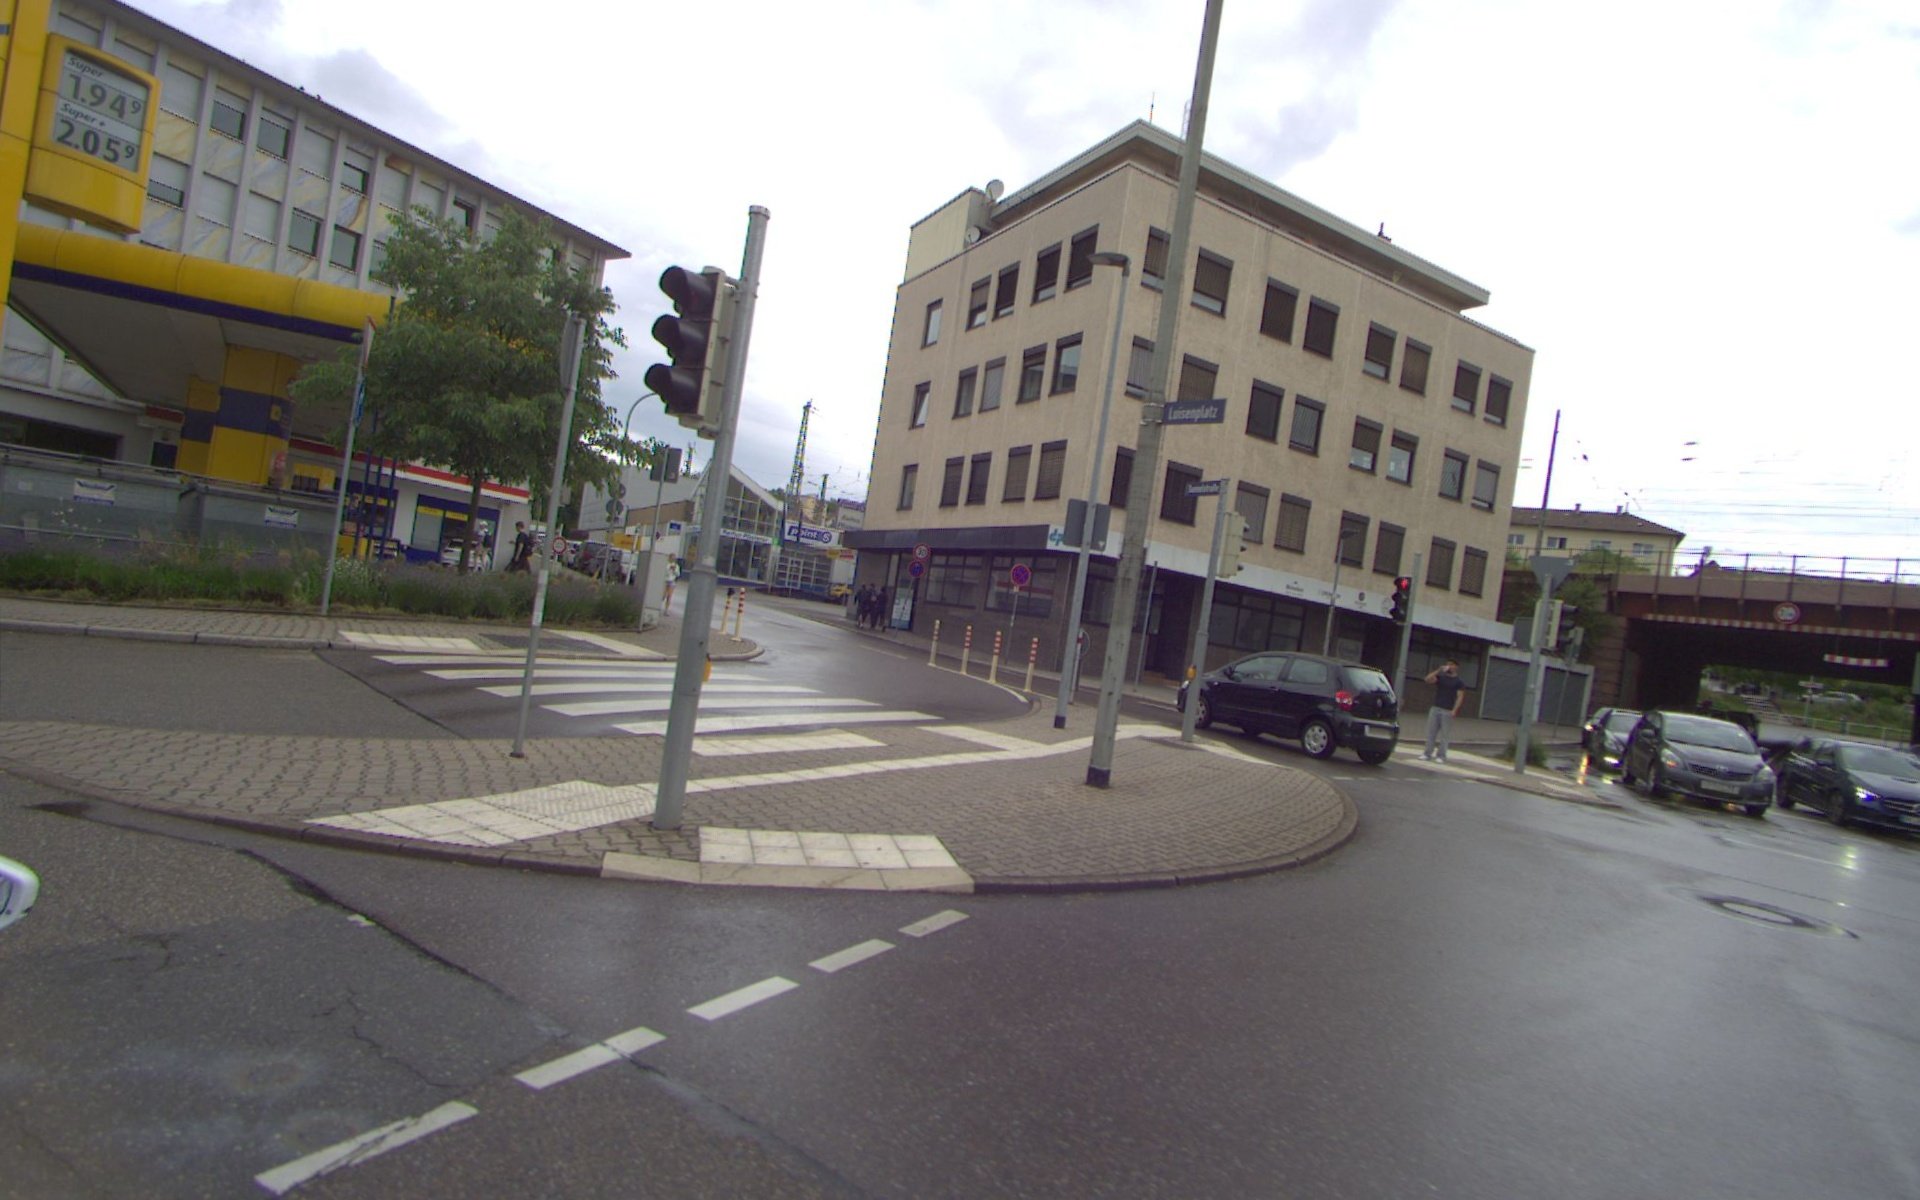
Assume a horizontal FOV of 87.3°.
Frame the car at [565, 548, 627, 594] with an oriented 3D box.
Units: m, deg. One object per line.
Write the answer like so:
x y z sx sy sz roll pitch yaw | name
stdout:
-18.197 -1.423 50.122 1.980 1.884 4.548 10 -3 -29 | car

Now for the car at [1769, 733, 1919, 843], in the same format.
17.219 3.530 19.082 1.965 1.462 4.479 8 0 28 | car

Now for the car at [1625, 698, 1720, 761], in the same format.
26.793 4.883 37.780 4.142 1.802 1.976 12 -4 -42 | car

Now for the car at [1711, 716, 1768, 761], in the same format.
44.633 7.960 57.557 1.974 2.035 3.984 6 -4 44 | car

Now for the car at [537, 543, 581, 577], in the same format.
-27.080 -2.663 67.825 1.980 1.884 4.548 10 -3 -29 | car

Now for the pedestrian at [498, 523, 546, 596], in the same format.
-16.589 -1.537 38.091 1.003 2.594 1.135 11 -3 -43 | pedestrian

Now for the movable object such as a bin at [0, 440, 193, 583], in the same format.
-12.436 -1.227 14.036 1.744 1.593 2.159 7 -1 32 | movable object such as a bin

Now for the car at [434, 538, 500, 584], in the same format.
-20.885 -1.610 42.772 1.972 1.533 4.400 7 -2 -21 | car

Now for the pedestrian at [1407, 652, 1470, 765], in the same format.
8.349 1.893 17.548 0.761 1.810 0.859 8 -2 28 | pedestrian

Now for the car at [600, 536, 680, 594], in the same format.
-12.906 -1.371 40.376 1.980 1.884 4.548 10 -3 -29 | car

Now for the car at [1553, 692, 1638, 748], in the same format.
21.747 4.060 34.597 1.965 1.462 4.479 8 0 28 | car

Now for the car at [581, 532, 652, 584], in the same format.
-15.340 -1.830 44.770 1.980 1.884 4.548 10 -3 -29 | car

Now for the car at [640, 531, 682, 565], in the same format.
-21.609 -3.723 72.681 1.978 2.035 3.975 10 -3 -27 | car

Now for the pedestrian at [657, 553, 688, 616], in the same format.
-7.433 -0.389 25.993 0.472 1.531 0.574 9 -2 -9 | pedestrian

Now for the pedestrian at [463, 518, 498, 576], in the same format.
-15.927 -1.753 33.414 0.674 1.777 0.725 10 -3 -35 | pedestrian

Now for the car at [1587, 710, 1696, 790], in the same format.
17.185 3.682 25.340 1.969 1.462 4.472 8 0 36 | car

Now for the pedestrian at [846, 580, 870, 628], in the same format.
-3.864 0.160 38.191 0.475 1.761 0.571 10 -2 -28 | pedestrian

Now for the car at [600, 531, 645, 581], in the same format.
-28.572 -3.672 85.091 2.359 3.727 4.961 10 -3 -28 | car

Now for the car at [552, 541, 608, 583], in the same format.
-20.913 -2.085 55.295 1.980 1.884 4.548 10 -3 -29 | car

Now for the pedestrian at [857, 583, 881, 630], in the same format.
-3.502 0.247 38.653 0.475 1.761 0.571 10 -2 -28 | pedestrian

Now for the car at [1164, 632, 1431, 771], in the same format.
5.386 1.587 16.447 1.667 1.508 3.708 12 -3 -36 | car

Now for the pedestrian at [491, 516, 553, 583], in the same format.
-11.669 -1.323 26.851 1.095 1.540 0.917 9 -2 -9 | pedestrian

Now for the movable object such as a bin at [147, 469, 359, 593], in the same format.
-11.205 -1.073 16.009 1.744 1.574 2.158 7 0 32 | movable object such as a bin

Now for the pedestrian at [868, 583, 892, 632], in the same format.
-3.017 0.276 37.834 0.475 1.761 0.571 10 -2 -28 | pedestrian

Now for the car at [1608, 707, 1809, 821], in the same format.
14.245 3.037 19.478 1.964 1.462 4.483 8 0 23 | car

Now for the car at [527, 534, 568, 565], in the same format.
-30.086 -3.641 73.350 1.980 1.884 4.548 10 -3 -29 | car

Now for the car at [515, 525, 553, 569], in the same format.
-34.072 -4.183 80.388 1.980 3.005 4.548 10 -3 -29 | car

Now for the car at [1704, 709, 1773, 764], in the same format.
36.809 6.465 47.529 1.974 2.035 3.984 6 -4 44 | car

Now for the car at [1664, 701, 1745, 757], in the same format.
32.127 5.569 43.352 3.979 1.802 1.976 12 -4 -42 | car

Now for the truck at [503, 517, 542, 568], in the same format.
-37.681 -4.870 86.543 1.980 3.956 5.446 10 -3 -29 | truck
